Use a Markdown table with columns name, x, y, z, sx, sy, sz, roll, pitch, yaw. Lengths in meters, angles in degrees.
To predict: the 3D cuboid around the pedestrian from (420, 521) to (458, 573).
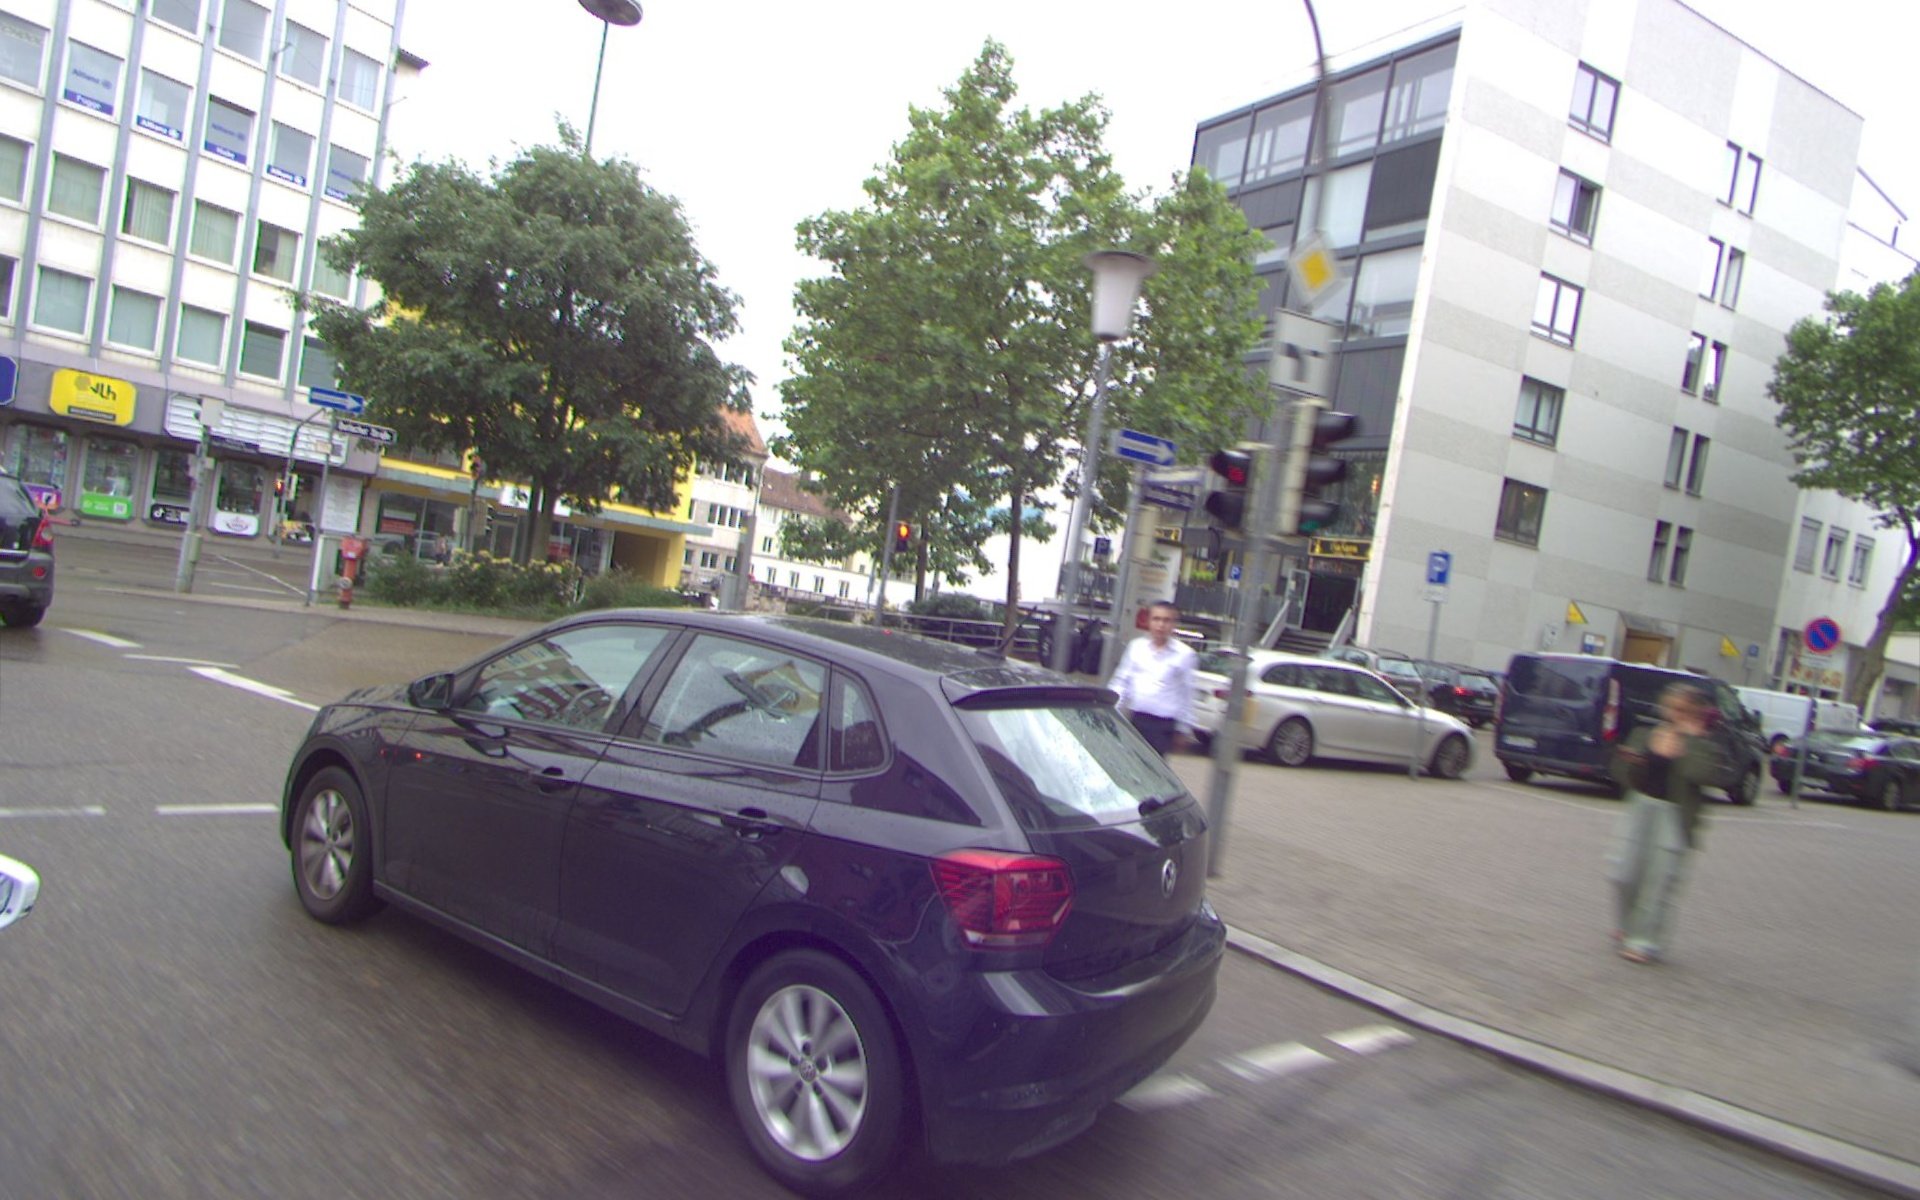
| name | x | y | z | sx | sy | sz | roll | pitch | yaw |
| --- | --- | --- | --- | --- | --- | --- | --- | --- | --- |
| pedestrian | -20.417 | -2.054 | 39.429 | 0.666 | 1.846 | 0.893 | 7 | -4 | 10 |

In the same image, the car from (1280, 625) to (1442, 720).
| name | x | y | z | sx | sy | sz | roll | pitch | yaw |
| --- | --- | --- | --- | --- | --- | --- | --- | --- | --- |
| car | 10.212 | 1.799 | 25.942 | 1.603 | 1.657 | 3.917 | 8 | 4 | -17 |

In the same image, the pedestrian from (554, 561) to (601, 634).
| name | x | y | z | sx | sy | sz | roll | pitch | yaw |
| --- | --- | --- | --- | --- | --- | --- | --- | --- | --- |
| pedestrian | -10.241 | -0.056 | 26.965 | 0.668 | 1.846 | 0.714 | 3 | -5 | 34 |

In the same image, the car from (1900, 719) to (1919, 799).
| name | x | y | z | sx | sy | sz | roll | pitch | yaw |
| --- | --- | --- | --- | --- | --- | --- | --- | --- | --- |
| car | 23.975 | 3.880 | 23.204 | 3.949 | 1.786 | 1.876 | 7 | 0 | -25 |

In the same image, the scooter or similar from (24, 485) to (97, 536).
| name | x | y | z | sx | sy | sz | roll | pitch | yaw |
| --- | --- | --- | --- | --- | --- | --- | --- | --- | --- |
| scooter or similar | -28.075 | -2.788 | 31.406 | 0.612 | 1.225 | 1.511 | 14 | 2 | 43 |

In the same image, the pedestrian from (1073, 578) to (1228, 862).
| name | x | y | z | sx | sy | sz | roll | pitch | yaw |
| --- | --- | --- | --- | --- | --- | --- | --- | --- | --- |
| pedestrian | 1.377 | 0.813 | 7.214 | 0.814 | 1.842 | 0.723 | 6 | 2 | 21 |

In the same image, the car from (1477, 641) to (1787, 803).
| name | x | y | z | sx | sy | sz | roll | pitch | yaw |
| --- | --- | --- | --- | --- | --- | --- | --- | --- | --- |
| car | 10.615 | 1.942 | 15.828 | 4.751 | 2.022 | 1.947 | 7 | 0 | -29 |

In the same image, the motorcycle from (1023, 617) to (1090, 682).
| name | x | y | z | sx | sy | sz | roll | pitch | yaw |
| --- | --- | --- | --- | --- | --- | --- | --- | --- | --- |
| motorcycle | 2.134 | 1.087 | 22.575 | 0.620 | 1.131 | 1.931 | 7 | 4 | -19 |

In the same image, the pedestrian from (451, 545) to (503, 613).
| name | x | y | z | sx | sy | sz | roll | pitch | yaw |
| --- | --- | --- | --- | --- | --- | --- | --- | --- | --- |
| pedestrian | -14.567 | -0.627 | 30.353 | 0.875 | 1.848 | 0.826 | 9 | -1 | 27 |

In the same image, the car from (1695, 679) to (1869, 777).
| name | x | y | z | sx | sy | sz | roll | pitch | yaw |
| --- | --- | --- | --- | --- | --- | --- | --- | --- | --- |
| car | 26.035 | 4.004 | 32.041 | 1.870 | 2.430 | 3.843 | 6 | 0 | -8 |

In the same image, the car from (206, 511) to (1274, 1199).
| name | x | y | z | sx | sy | sz | roll | pitch | yaw |
| --- | --- | --- | --- | --- | --- | --- | --- | --- | --- |
| car | -1.066 | 0.658 | 3.940 | 3.935 | 1.495 | 1.690 | 8 | 0 | 33 |

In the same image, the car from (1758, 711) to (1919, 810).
| name | x | y | z | sx | sy | sz | roll | pitch | yaw |
| --- | --- | --- | --- | --- | --- | --- | --- | --- | --- |
| car | 18.123 | 3.226 | 19.990 | 4.083 | 1.513 | 1.831 | 7 | 0 | -25 |

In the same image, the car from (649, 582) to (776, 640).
| name | x | y | z | sx | sy | sz | roll | pitch | yaw |
| --- | --- | --- | --- | --- | --- | --- | --- | --- | --- |
| car | -9.214 | 0.435 | 37.643 | 1.802 | 1.430 | 4.184 | 14 | 3 | 41 |

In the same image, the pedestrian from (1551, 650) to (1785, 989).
| name | x | y | z | sx | sy | sz | roll | pitch | yaw |
| --- | --- | --- | --- | --- | --- | --- | --- | --- | --- |
| pedestrian | 4.097 | 1.198 | 5.839 | 0.718 | 1.712 | 0.820 | 3 | 3 | -42 |

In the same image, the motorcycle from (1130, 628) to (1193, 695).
| name | x | y | z | sx | sy | sz | roll | pitch | yaw |
| --- | --- | --- | --- | --- | --- | --- | --- | --- | --- |
| motorcycle | 4.506 | 1.354 | 22.671 | 0.618 | 1.132 | 2.085 | 7 | 4 | -8 |

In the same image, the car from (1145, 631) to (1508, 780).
| name | x | y | z | sx | sy | sz | roll | pitch | yaw |
| --- | --- | --- | --- | --- | --- | --- | --- | --- | --- |
| car | 5.273 | 1.525 | 14.456 | 4.787 | 1.513 | 1.847 | 7 | 0 | -22 |

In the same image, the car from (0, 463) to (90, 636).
| name | x | y | z | sx | sy | sz | roll | pitch | yaw |
| --- | --- | --- | --- | --- | --- | --- | --- | --- | --- |
| car | -11.661 | -0.767 | 10.884 | 4.427 | 1.716 | 1.900 | 7 | 1 | 29 |

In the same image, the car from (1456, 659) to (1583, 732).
| name | x | y | z | sx | sy | sz | roll | pitch | yaw |
| --- | --- | --- | --- | --- | --- | --- | --- | --- | --- |
| car | 15.560 | 2.601 | 28.200 | 1.597 | 1.572 | 3.691 | 7 | 0 | 5 |

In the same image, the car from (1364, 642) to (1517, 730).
| name | x | y | z | sx | sy | sz | roll | pitch | yaw |
| --- | --- | --- | --- | --- | --- | --- | --- | --- | --- |
| car | 12.673 | 2.213 | 26.819 | 1.600 | 1.575 | 3.830 | 7 | 4 | -9 |

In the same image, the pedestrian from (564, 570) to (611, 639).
| name | x | y | z | sx | sy | sz | roll | pitch | yaw |
| --- | --- | --- | --- | --- | --- | --- | --- | --- | --- |
| pedestrian | -9.775 | 0.129 | 26.410 | 0.669 | 1.694 | 0.714 | 3 | -5 | 35 |
